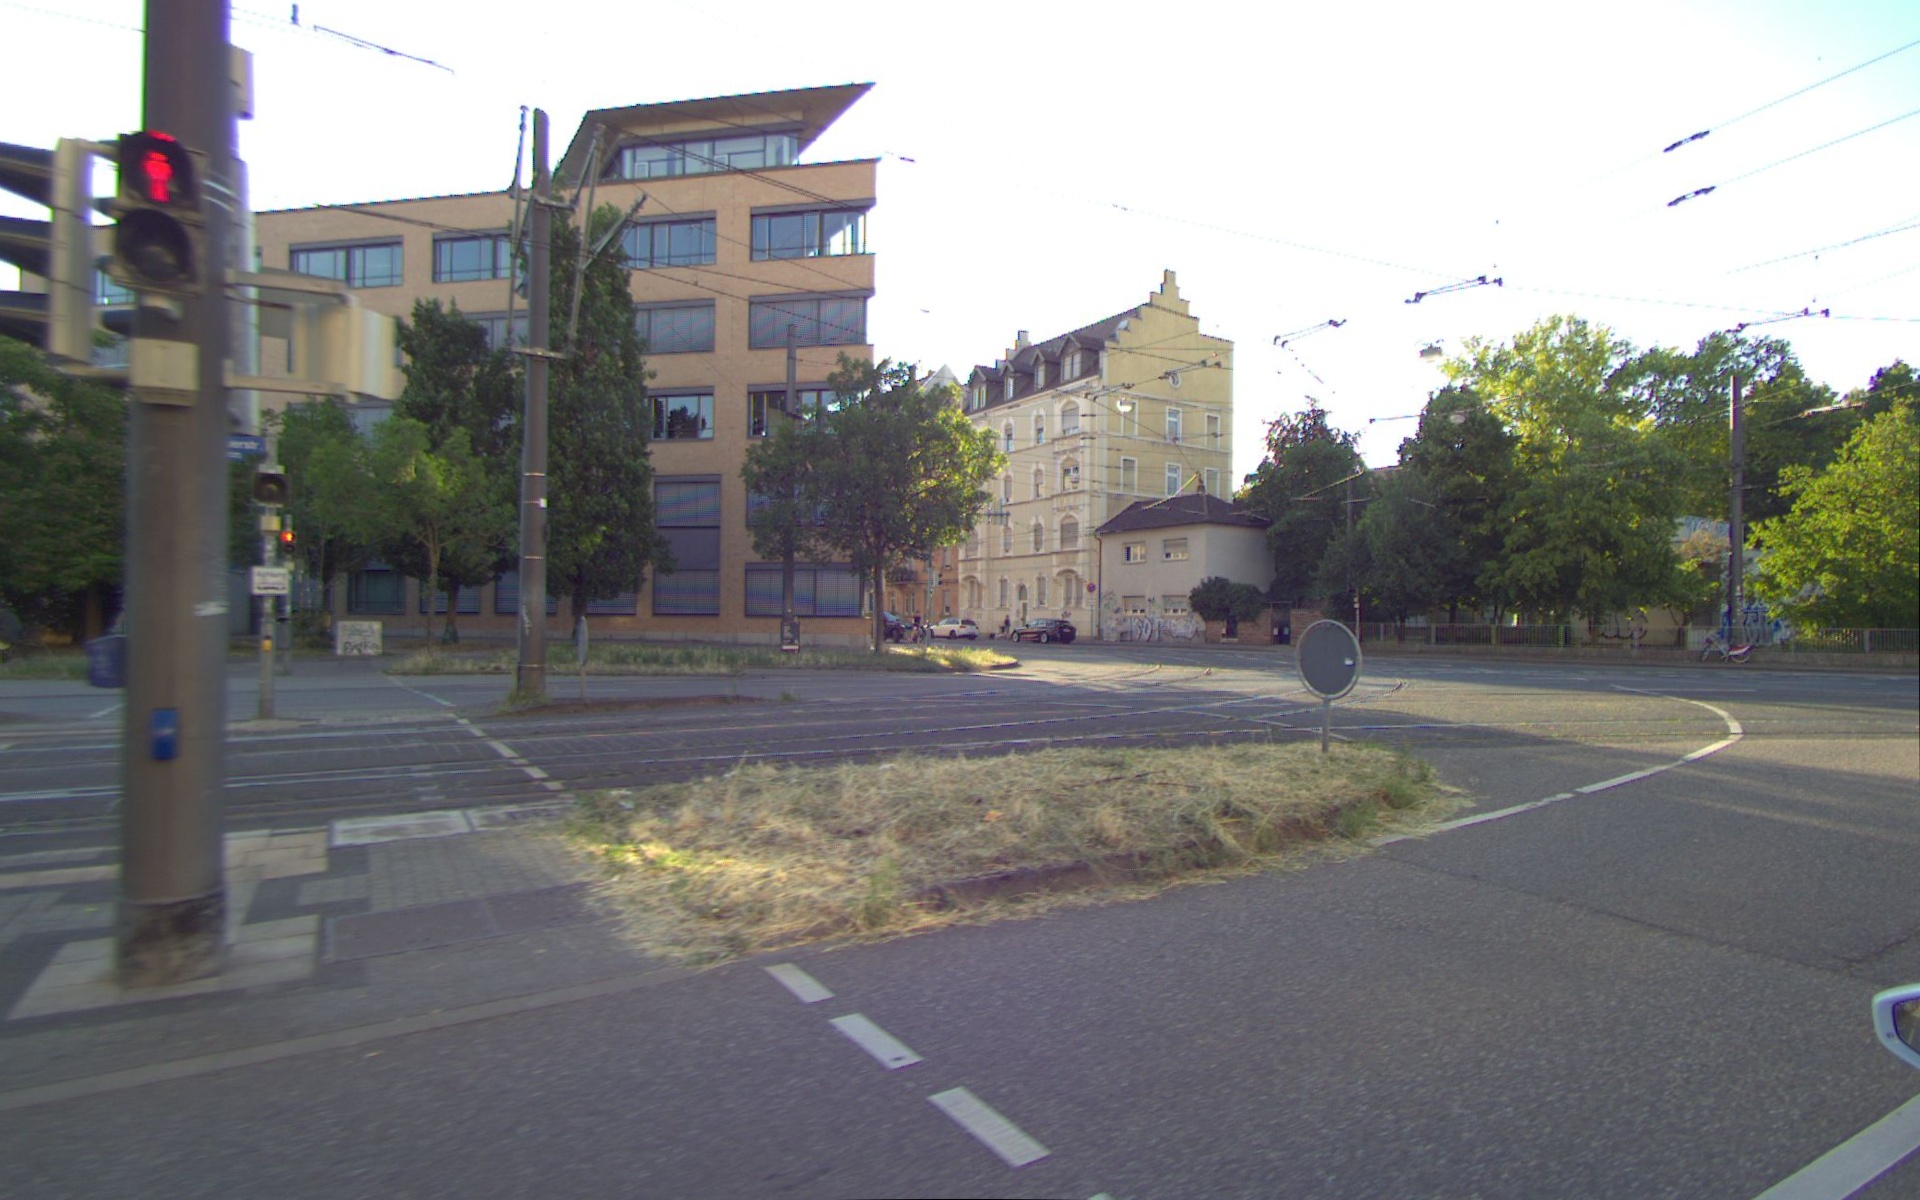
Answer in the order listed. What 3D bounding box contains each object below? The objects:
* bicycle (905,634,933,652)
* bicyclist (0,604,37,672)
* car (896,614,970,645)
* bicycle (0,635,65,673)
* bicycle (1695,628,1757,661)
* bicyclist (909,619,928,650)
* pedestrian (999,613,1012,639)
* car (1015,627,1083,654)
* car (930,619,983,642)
[{"bbox_3d":[-1.981,2.078,48.376,0.651,0.844,1.677,1,-1,-32],"label":"bicycle"},{"bbox_3d":[-21.303,0.844,22.463,0.818,1.487,0.764,1,-1,-30],"label":"bicyclist"},{"bbox_3d":[-1.420,1.473,51.421,1.981,1.506,3.960,1,-1,-36],"label":"car"},{"bbox_3d":[-21.372,1.205,22.422,1.943,0.832,0.770,1,-1,-30],"label":"bicycle"},{"bbox_3d":[27.816,1.620,36.489,1.687,1.157,0.559,0,-1,16],"label":"bicycle"},{"bbox_3d":[-2.002,1.647,48.425,0.660,1.472,0.737,1,-1,-32],"label":"bicyclist"},{"bbox_3d":[3.018,1.706,66.869,0.580,1.728,0.710,1,-1,-33],"label":"pedestrian"},{"bbox_3d":[5.200,2.339,58.952,1.978,1.506,3.964,1,-1,-33],"label":"car"},{"bbox_3d":[-0.253,2.019,67.587,1.823,1.506,3.968,1,-1,-30],"label":"car"}]
